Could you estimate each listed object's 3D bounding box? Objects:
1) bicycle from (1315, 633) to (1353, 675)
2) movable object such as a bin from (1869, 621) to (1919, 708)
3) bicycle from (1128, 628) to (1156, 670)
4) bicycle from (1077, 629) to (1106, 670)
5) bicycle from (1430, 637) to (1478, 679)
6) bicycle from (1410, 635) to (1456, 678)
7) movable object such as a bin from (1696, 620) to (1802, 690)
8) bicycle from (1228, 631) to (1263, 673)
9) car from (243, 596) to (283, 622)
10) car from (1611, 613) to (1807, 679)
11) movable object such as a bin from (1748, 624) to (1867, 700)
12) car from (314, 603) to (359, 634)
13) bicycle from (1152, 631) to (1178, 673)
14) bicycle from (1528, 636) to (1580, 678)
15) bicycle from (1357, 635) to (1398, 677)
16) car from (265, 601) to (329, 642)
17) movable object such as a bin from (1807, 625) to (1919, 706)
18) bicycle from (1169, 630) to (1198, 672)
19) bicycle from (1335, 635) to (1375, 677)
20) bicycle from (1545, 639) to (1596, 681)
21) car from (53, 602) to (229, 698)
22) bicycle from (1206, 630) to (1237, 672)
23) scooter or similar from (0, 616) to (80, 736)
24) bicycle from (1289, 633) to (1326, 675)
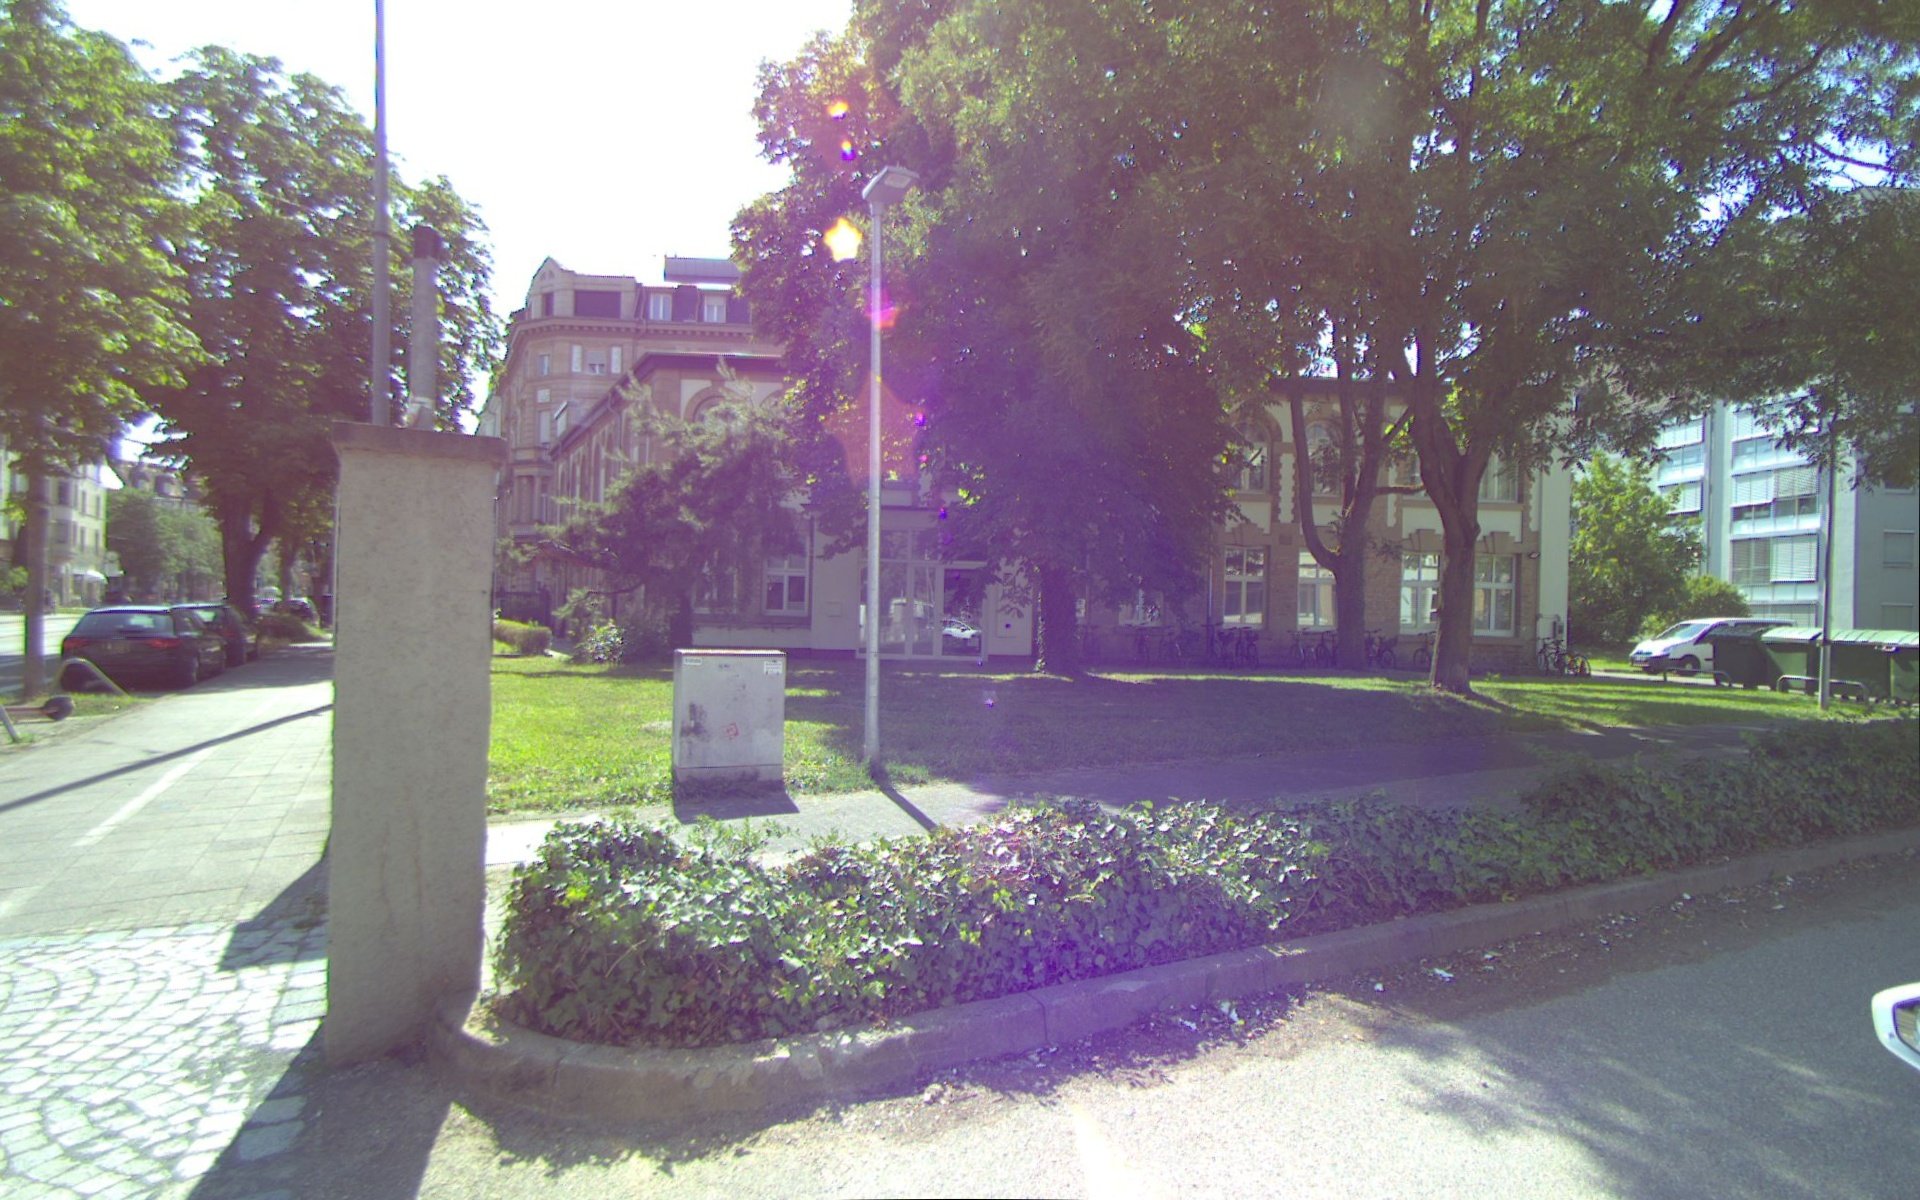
[{"bbox_3d":[9.715,1.399,26.109,0.437,1.006,1.541,0,0,1],"label":"bicycle"},{"bbox_3d":[17.110,1.129,17.546,1.225,1.501,1.337,1,-1,-7],"label":"movable object such as a bin"},{"bbox_3d":[4.664,1.242,25.796,0.437,1.006,1.541,0,0,1],"label":"bicycle"},{"bbox_3d":[3.369,1.255,25.807,0.437,1.005,1.540,2,-1,-3],"label":"bicycle"},{"bbox_3d":[12.837,1.487,26.146,0.437,1.006,1.685,0,0,1],"label":"bicycle"},{"bbox_3d":[12.294,1.450,26.153,0.437,1.006,1.666,0,0,1],"label":"bicycle"},{"bbox_3d":[17.133,1.177,21.854,1.224,1.450,1.350,1,-1,-2],"label":"movable object such as a bin"},{"bbox_3d":[7.379,1.325,25.984,0.437,1.006,1.541,0,0,-1],"label":"bicycle"},{"bbox_3d":[-51.659,0.667,74.525,1.976,1.855,4.434,2,-1,-29],"label":"car"},{"bbox_3d":[24.410,1.474,32.862,4.941,1.959,2.000,2,0,0],"label":"car"},{"bbox_3d":[17.128,1.228,20.342,1.224,1.450,1.365,1,-1,-2],"label":"movable object such as a bin"},{"bbox_3d":[-36.241,1.057,58.468,1.806,1.684,3.973,1,-1,-27],"label":"car"},{"bbox_3d":[5.276,1.328,25.883,0.367,1.002,1.600,1,0,1],"label":"bicycle"},{"bbox_3d":[15.609,1.477,26.425,0.437,1.006,1.630,0,0,1],"label":"bicycle"},{"bbox_3d":[10.847,1.451,26.146,0.437,1.006,1.541,0,0,1],"label":"bicycle"},{"bbox_3d":[-28.504,0.892,43.293,1.806,1.684,3.973,1,-1,-27],"label":"car"},{"bbox_3d":[17.098,1.222,18.953,1.227,1.450,1.220,1,-1,-13],"label":"movable object such as a bin"},{"bbox_3d":[5.750,1.300,25.902,0.437,1.006,1.541,0,0,1],"label":"bicycle"},{"bbox_3d":[10.258,1.428,26.127,0.437,1.006,1.541,0,0,1],"label":"bicycle"},{"bbox_3d":[16.085,1.559,26.495,0.437,1.006,1.541,0,0,1],"label":"bicycle"},{"bbox_3d":[-14.576,0.803,18.109,1.712,1.496,3.970,0,0,-28],"label":"car"},{"bbox_3d":[6.719,1.295,25.860,0.437,1.006,1.541,0,0,1],"label":"bicycle"},{"bbox_3d":[-10.039,0.770,10.281,1.461,1.201,0.491,0,0,-21],"label":"scooter or similar"},{"bbox_3d":[8.982,1.375,26.001,0.437,1.006,1.541,0,0,1],"label":"bicycle"}]
